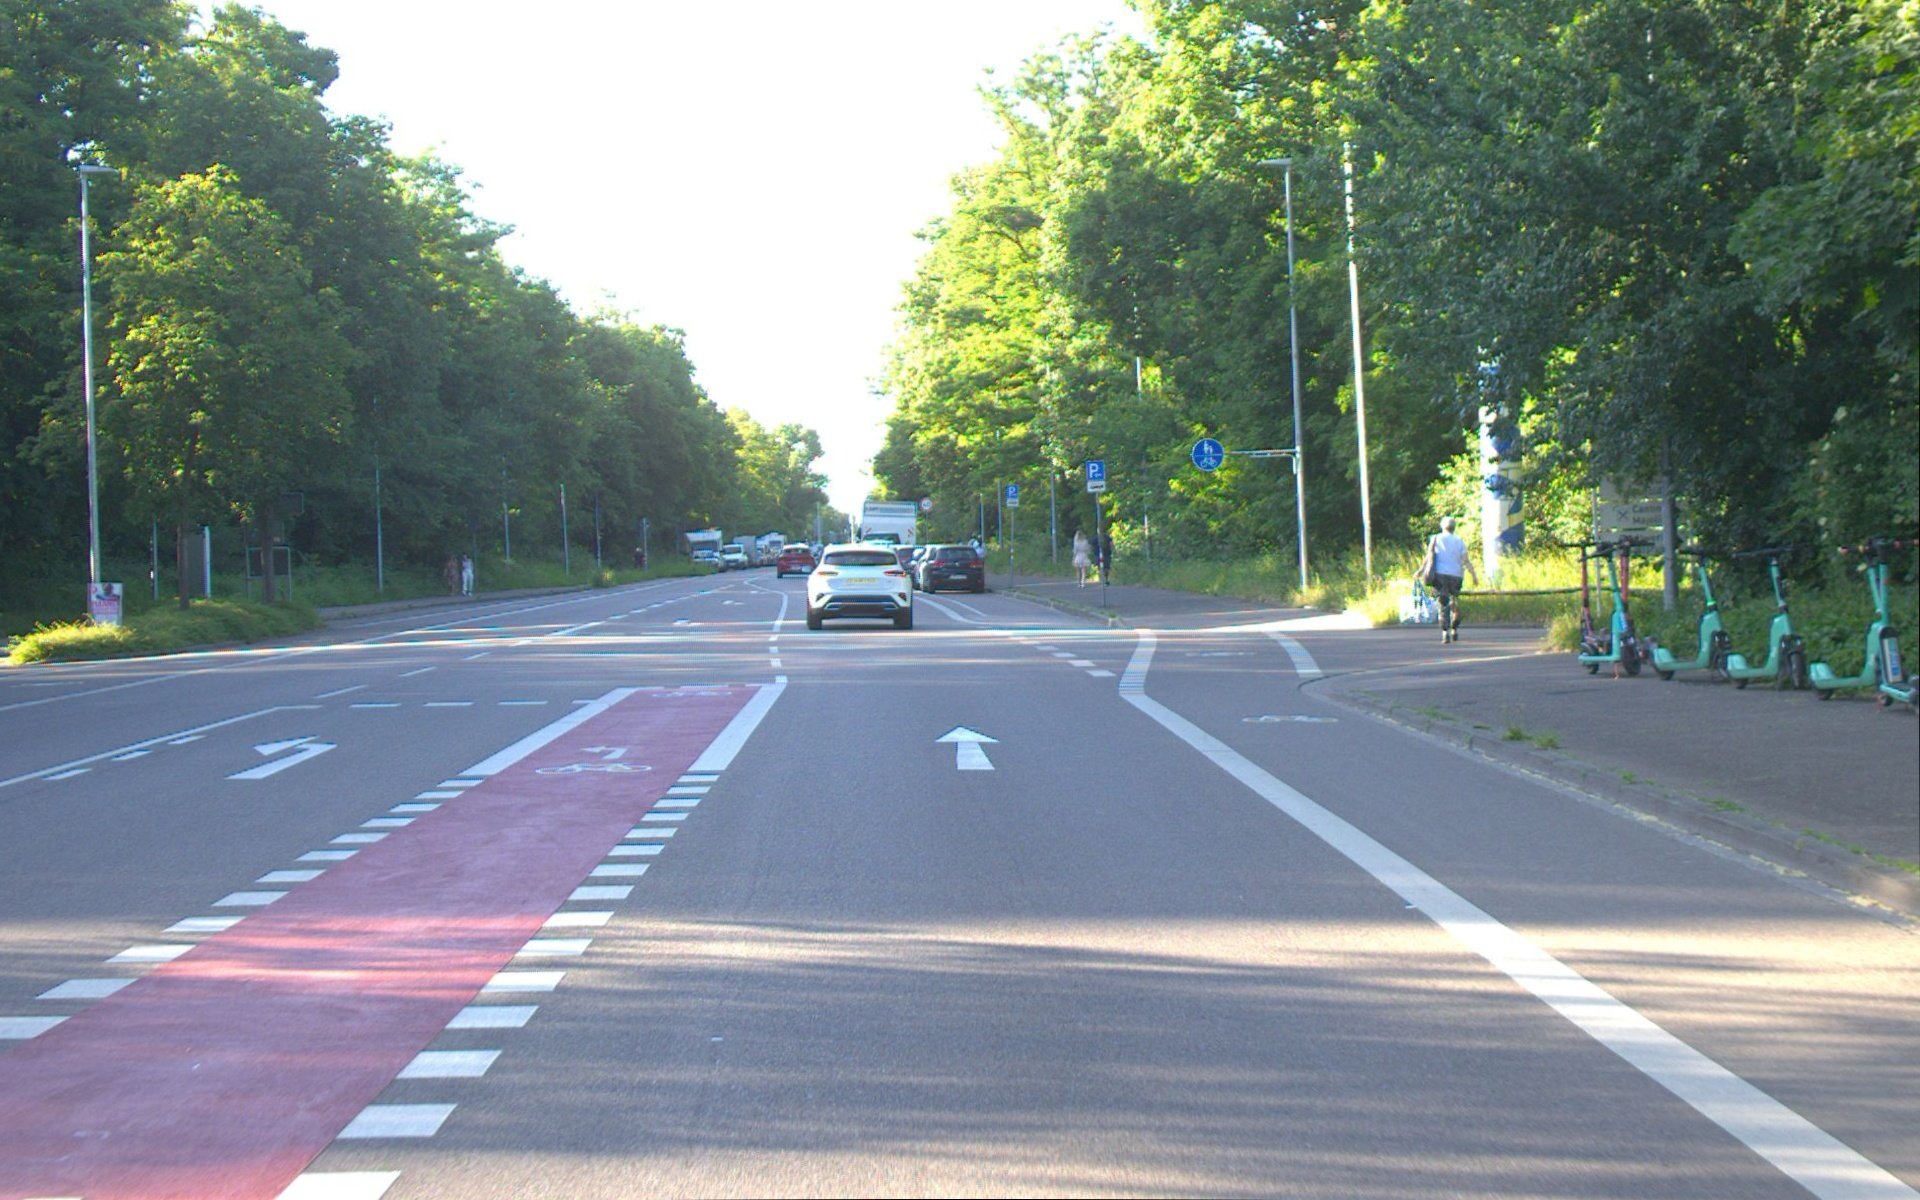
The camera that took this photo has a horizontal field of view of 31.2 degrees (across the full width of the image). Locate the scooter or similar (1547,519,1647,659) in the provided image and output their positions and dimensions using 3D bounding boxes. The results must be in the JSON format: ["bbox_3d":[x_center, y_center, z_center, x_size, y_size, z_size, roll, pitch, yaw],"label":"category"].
[{"bbox_3d":[6.681,-0.134,36.114,0.682,1.418,1.682,-2,1,-1],"label":"scooter or similar"}]

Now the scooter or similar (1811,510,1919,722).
[{"bbox_3d":[6.537,0.087,24.047,0.682,1.418,1.682,-2,1,-1],"label":"scooter or similar"}]

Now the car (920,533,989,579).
[{"bbox_3d":[-0.187,-1.381,106.427,1.993,1.322,4.000,-2,1,-1],"label":"car"}]

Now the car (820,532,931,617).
[{"bbox_3d":[-1.520,-0.470,60.937,1.761,1.454,3.818,0,1,-4],"label":"car"}]

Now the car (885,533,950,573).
[{"bbox_3d":[-1.525,-1.670,122.115,1.993,1.322,4.001,-2,1,-4],"label":"car"}]

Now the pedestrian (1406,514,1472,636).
[{"bbox_3d":[6.254,-0.335,44.916,0.755,1.558,0.802,-2,1,4],"label":"pedestrian"}]

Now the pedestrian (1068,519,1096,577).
[{"bbox_3d":[3.510,-1.502,98.786,0.698,1.647,0.876,-2,1,-1],"label":"pedestrian"}]

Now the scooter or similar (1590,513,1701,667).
[{"bbox_3d":[6.578,-0.112,33.061,0.682,1.418,1.682,-2,1,-1],"label":"scooter or similar"}]

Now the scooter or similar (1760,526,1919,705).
[{"bbox_3d":[6.686,0.103,25.903,0.465,1.302,1.481,-2,1,-23],"label":"scooter or similar"}]

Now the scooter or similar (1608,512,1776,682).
[{"bbox_3d":[6.387,-0.038,30.069,0.682,1.418,1.682,-2,1,-16],"label":"scooter or similar"}]

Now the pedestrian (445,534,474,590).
[{"bbox_3d":[-18.540,-1.417,127.373,0.831,2.007,1.269,-2,1,1],"label":"pedestrian"}]

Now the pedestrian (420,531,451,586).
[{"bbox_3d":[-19.440,-1.554,127.396,0.863,2.007,1.269,-2,1,1],"label":"pedestrian"}]

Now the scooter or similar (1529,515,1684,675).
[{"bbox_3d":[5.954,-0.058,31.746,0.682,1.418,1.682,-2,1,-16],"label":"scooter or similar"}]

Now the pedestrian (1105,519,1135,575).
[{"bbox_3d":[4.602,-1.532,98.840,0.743,1.593,0.798,-2,1,-1],"label":"pedestrian"}]

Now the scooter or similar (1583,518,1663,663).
[{"bbox_3d":[6.659,-0.109,34.575,0.682,1.418,1.245,-2,1,8],"label":"scooter or similar"}]

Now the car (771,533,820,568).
[{"bbox_3d":[-7.320,-2.218,153.316,1.993,1.514,4.000,-2,1,0],"label":"car"}]

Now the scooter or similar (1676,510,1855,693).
[{"bbox_3d":[6.540,-0.001,27.998,0.682,1.418,1.682,-2,1,-14],"label":"scooter or similar"}]

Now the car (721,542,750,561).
[{"bbox_3d":[-16.485,-3.578,252.600,1.993,1.322,4.001,-2,1,-3],"label":"car"}]

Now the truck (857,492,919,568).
[{"bbox_3d":[-3.515,-3.374,165.842,2.799,3.558,8.036,0,1,-2],"label":"truck"}]
